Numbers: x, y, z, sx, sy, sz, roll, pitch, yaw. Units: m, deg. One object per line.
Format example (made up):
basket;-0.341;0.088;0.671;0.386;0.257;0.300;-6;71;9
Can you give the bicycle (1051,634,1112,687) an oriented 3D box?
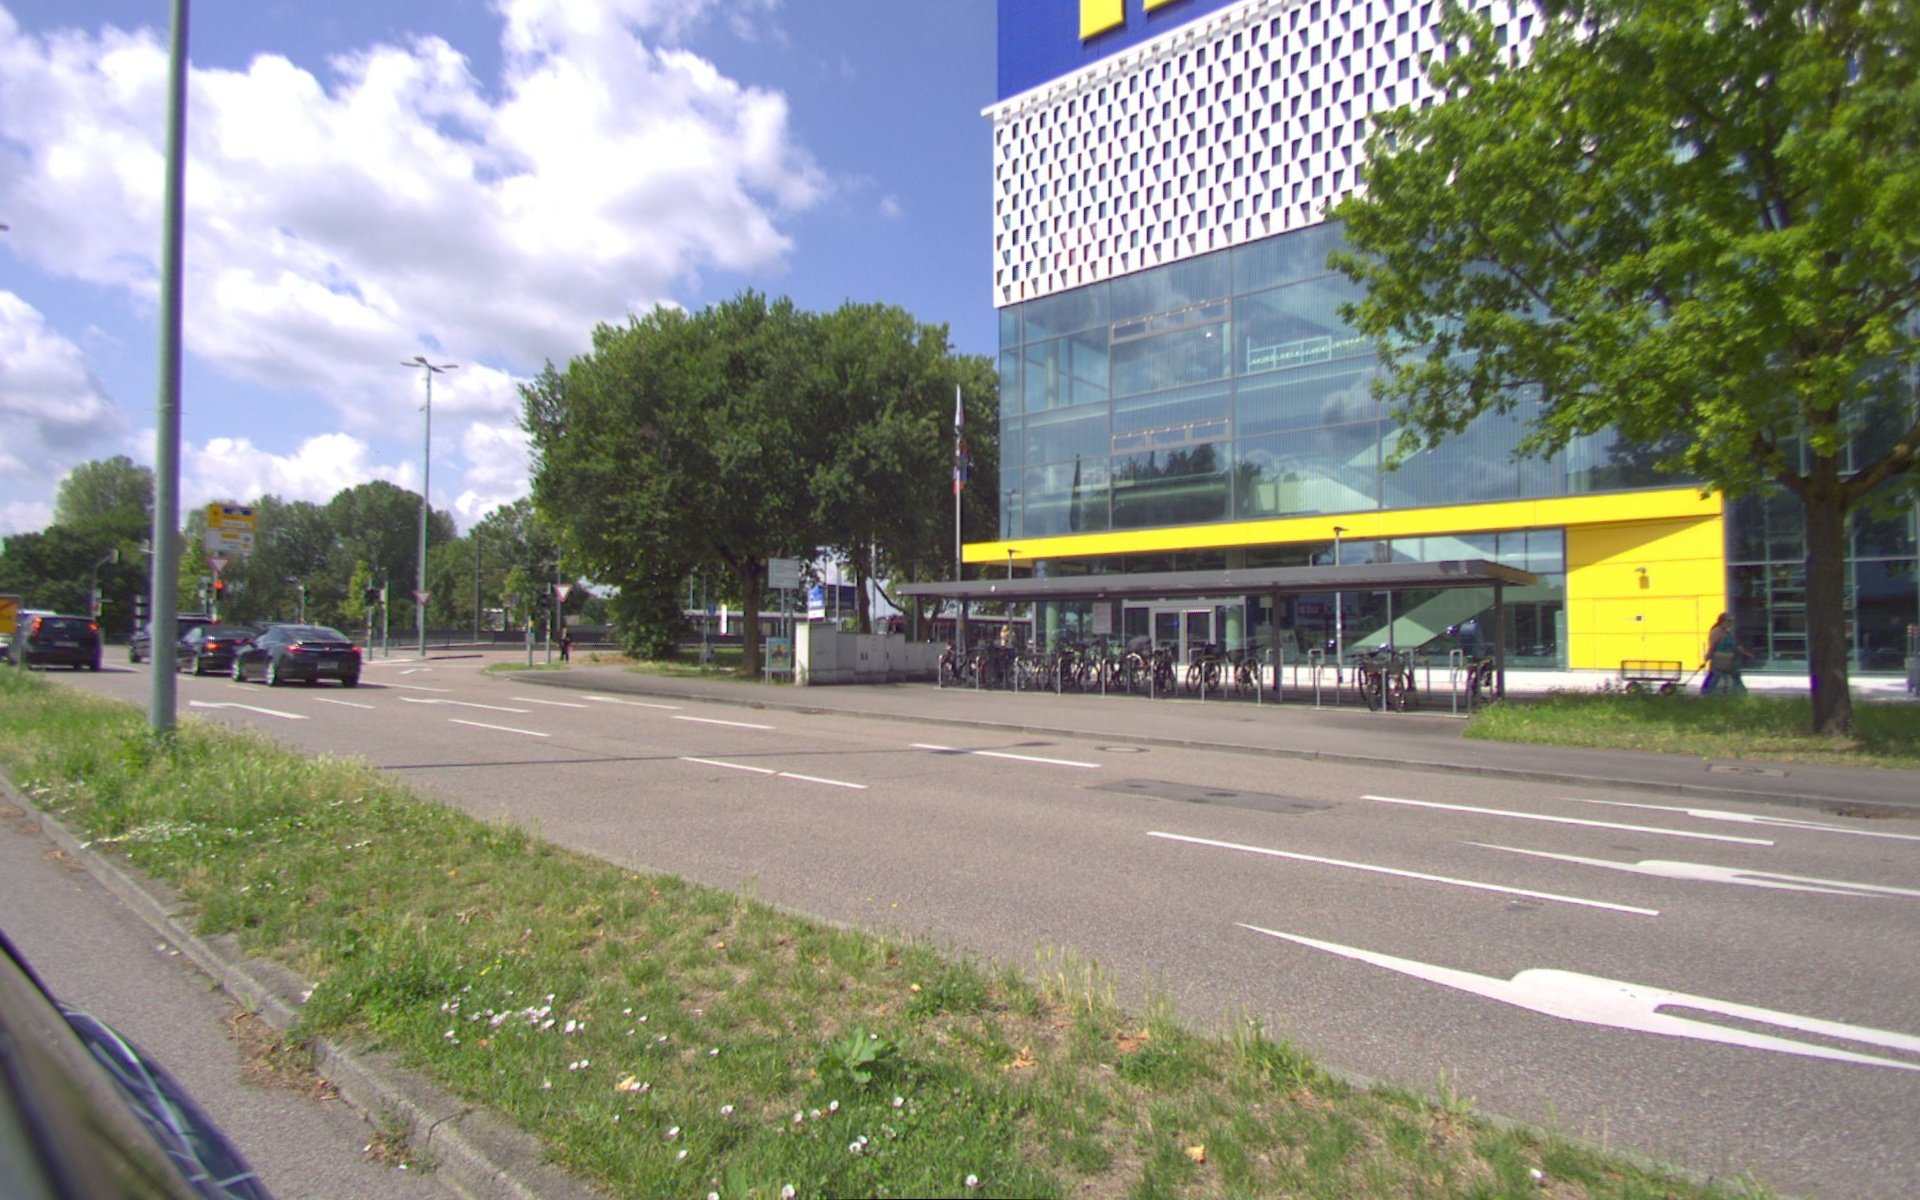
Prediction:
bicycle;3.167;1.547;26.258;0.629;1.282;1.905;-2;-2;40

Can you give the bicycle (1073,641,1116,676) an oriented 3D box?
bicycle;4.371;1.883;32.880;0.528;1.078;1.916;-1;-2;36

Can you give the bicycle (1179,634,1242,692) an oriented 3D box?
bicycle;5.903;1.461;23.799;0.629;1.282;1.905;-2;-2;40

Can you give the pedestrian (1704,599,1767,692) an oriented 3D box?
pedestrian;14.811;0.845;19.330;0.886;1.715;0.940;-1;-2;41

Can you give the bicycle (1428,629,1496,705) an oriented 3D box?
bicycle;9.066;1.175;18.250;0.629;1.282;1.905;-2;-2;40

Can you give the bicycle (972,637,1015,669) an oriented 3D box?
bicycle;1.184;1.830;35.177;0.528;1.078;1.916;-1;-2;36

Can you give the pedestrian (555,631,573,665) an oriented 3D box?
pedestrian;-18.031;2.178;46.123;0.616;1.502;0.435;-1;-2;24

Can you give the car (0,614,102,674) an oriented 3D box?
car;-25.280;1.195;28.037;4.129;1.505;1.587;0;-4;41

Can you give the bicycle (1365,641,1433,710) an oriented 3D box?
bicycle;8.239;1.382;18.955;0.629;1.192;1.905;-2;-2;40

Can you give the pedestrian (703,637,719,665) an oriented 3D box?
pedestrian;-12.027;2.469;48.883;0.538;1.334;0.485;-1;-2;41

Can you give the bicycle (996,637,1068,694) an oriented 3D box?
bicycle;1.761;1.552;24.462;0.629;1.282;2.068;-2;-2;40

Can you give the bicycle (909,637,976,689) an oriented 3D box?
bicycle;-0.435;1.616;26.408;0.629;1.282;1.905;-2;-2;40

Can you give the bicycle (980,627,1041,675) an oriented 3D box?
bicycle;1.406;1.378;27.748;0.629;1.282;1.905;-2;-2;40

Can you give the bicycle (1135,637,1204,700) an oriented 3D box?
bicycle;4.625;1.478;22.235;0.629;1.282;1.905;-2;-2;40

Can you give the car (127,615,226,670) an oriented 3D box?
car;-26.129;1.402;33.726;3.998;1.627;1.752;1;-3;41

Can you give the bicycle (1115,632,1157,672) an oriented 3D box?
bicycle;5.556;1.621;31.909;0.528;1.219;1.916;-1;-2;36

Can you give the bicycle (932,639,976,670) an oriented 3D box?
bicycle;-0.193;1.938;36.246;0.528;1.078;1.916;-1;-2;36

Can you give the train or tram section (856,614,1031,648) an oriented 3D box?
train or tram section;-1.155;3.580;111.982;4.526;3.055;24.797;-2;-4;39

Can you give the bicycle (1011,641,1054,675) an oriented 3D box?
bicycle;2.470;1.951;34.306;0.528;1.078;1.916;-1;-2;36

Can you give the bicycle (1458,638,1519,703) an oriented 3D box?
bicycle;10.441;1.369;19.961;0.629;1.193;1.905;-2;-2;40

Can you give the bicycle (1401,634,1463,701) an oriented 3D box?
bicycle;9.626;1.347;20.612;0.629;1.282;1.905;-2;-2;40

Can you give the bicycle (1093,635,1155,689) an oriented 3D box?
bicycle;4.127;1.535;25.345;0.629;1.282;1.905;-2;-2;40

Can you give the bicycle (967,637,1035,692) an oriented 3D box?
bicycle;1.036;1.589;25.216;0.629;1.282;1.905;-2;-2;40

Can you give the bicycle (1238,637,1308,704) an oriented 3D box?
bicycle;6.340;1.393;20.454;0.629;1.282;1.905;-2;-2;40

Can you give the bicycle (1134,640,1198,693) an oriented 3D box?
bicycle;4.938;1.569;24.174;0.629;1.192;1.905;-2;-2;40

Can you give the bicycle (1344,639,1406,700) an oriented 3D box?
bicycle;8.730;1.434;21.246;0.629;1.188;1.905;-2;-2;40

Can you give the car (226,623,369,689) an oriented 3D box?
car;-16.166;1.338;24.595;4.516;1.432;1.646;-1;-4;41

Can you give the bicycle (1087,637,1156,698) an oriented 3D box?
bicycle;3.643;1.489;22.749;0.629;1.282;1.905;-2;-2;40

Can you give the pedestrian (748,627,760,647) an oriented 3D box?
pedestrian;-19.348;3.466;94.882;0.759;1.867;0.783;-1;-4;33

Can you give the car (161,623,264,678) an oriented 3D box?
car;-21.019;1.401;28.400;4.094;1.402;1.397;-1;-4;41

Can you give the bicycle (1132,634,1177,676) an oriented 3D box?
bicycle;6.061;1.677;31.472;0.596;1.253;1.927;-1;-2;36

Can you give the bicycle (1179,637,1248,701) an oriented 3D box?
bicycle;5.392;1.436;21.485;0.629;1.282;1.905;-2;-2;40

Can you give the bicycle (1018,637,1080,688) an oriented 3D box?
bicycle;2.375;1.639;26.832;0.629;1.282;1.905;-2;-2;40

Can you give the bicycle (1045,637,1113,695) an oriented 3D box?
bicycle;2.812;1.532;23.742;0.629;1.282;1.905;-2;-2;40

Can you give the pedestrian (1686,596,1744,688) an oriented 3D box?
pedestrian;15.534;0.843;20.820;0.886;1.836;0.746;-1;-2;41

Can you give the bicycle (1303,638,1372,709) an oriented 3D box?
bicycle;7.365;1.398;19.706;0.629;1.282;1.905;-2;-2;40

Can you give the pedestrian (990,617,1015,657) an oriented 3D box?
pedestrian;1.830;1.576;43.328;0.709;1.719;0.888;-1;-2;35

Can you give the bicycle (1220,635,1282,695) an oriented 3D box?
bicycle;6.659;1.463;23.102;0.629;1.282;1.905;-2;-2;40

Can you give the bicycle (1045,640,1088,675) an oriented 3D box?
bicycle;3.545;1.895;33.507;0.519;1.098;1.912;-2;-2;37

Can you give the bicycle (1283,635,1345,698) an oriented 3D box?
bicycle;7.772;1.430;22.159;0.629;1.282;1.905;-2;-2;40

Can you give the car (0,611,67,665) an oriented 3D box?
car;-30.467;1.186;32.704;4.375;1.632;1.690;0;-3;40

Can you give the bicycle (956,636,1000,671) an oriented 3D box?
bicycle;0.643;1.857;35.310;0.467;1.181;1.938;-2;-2;36
